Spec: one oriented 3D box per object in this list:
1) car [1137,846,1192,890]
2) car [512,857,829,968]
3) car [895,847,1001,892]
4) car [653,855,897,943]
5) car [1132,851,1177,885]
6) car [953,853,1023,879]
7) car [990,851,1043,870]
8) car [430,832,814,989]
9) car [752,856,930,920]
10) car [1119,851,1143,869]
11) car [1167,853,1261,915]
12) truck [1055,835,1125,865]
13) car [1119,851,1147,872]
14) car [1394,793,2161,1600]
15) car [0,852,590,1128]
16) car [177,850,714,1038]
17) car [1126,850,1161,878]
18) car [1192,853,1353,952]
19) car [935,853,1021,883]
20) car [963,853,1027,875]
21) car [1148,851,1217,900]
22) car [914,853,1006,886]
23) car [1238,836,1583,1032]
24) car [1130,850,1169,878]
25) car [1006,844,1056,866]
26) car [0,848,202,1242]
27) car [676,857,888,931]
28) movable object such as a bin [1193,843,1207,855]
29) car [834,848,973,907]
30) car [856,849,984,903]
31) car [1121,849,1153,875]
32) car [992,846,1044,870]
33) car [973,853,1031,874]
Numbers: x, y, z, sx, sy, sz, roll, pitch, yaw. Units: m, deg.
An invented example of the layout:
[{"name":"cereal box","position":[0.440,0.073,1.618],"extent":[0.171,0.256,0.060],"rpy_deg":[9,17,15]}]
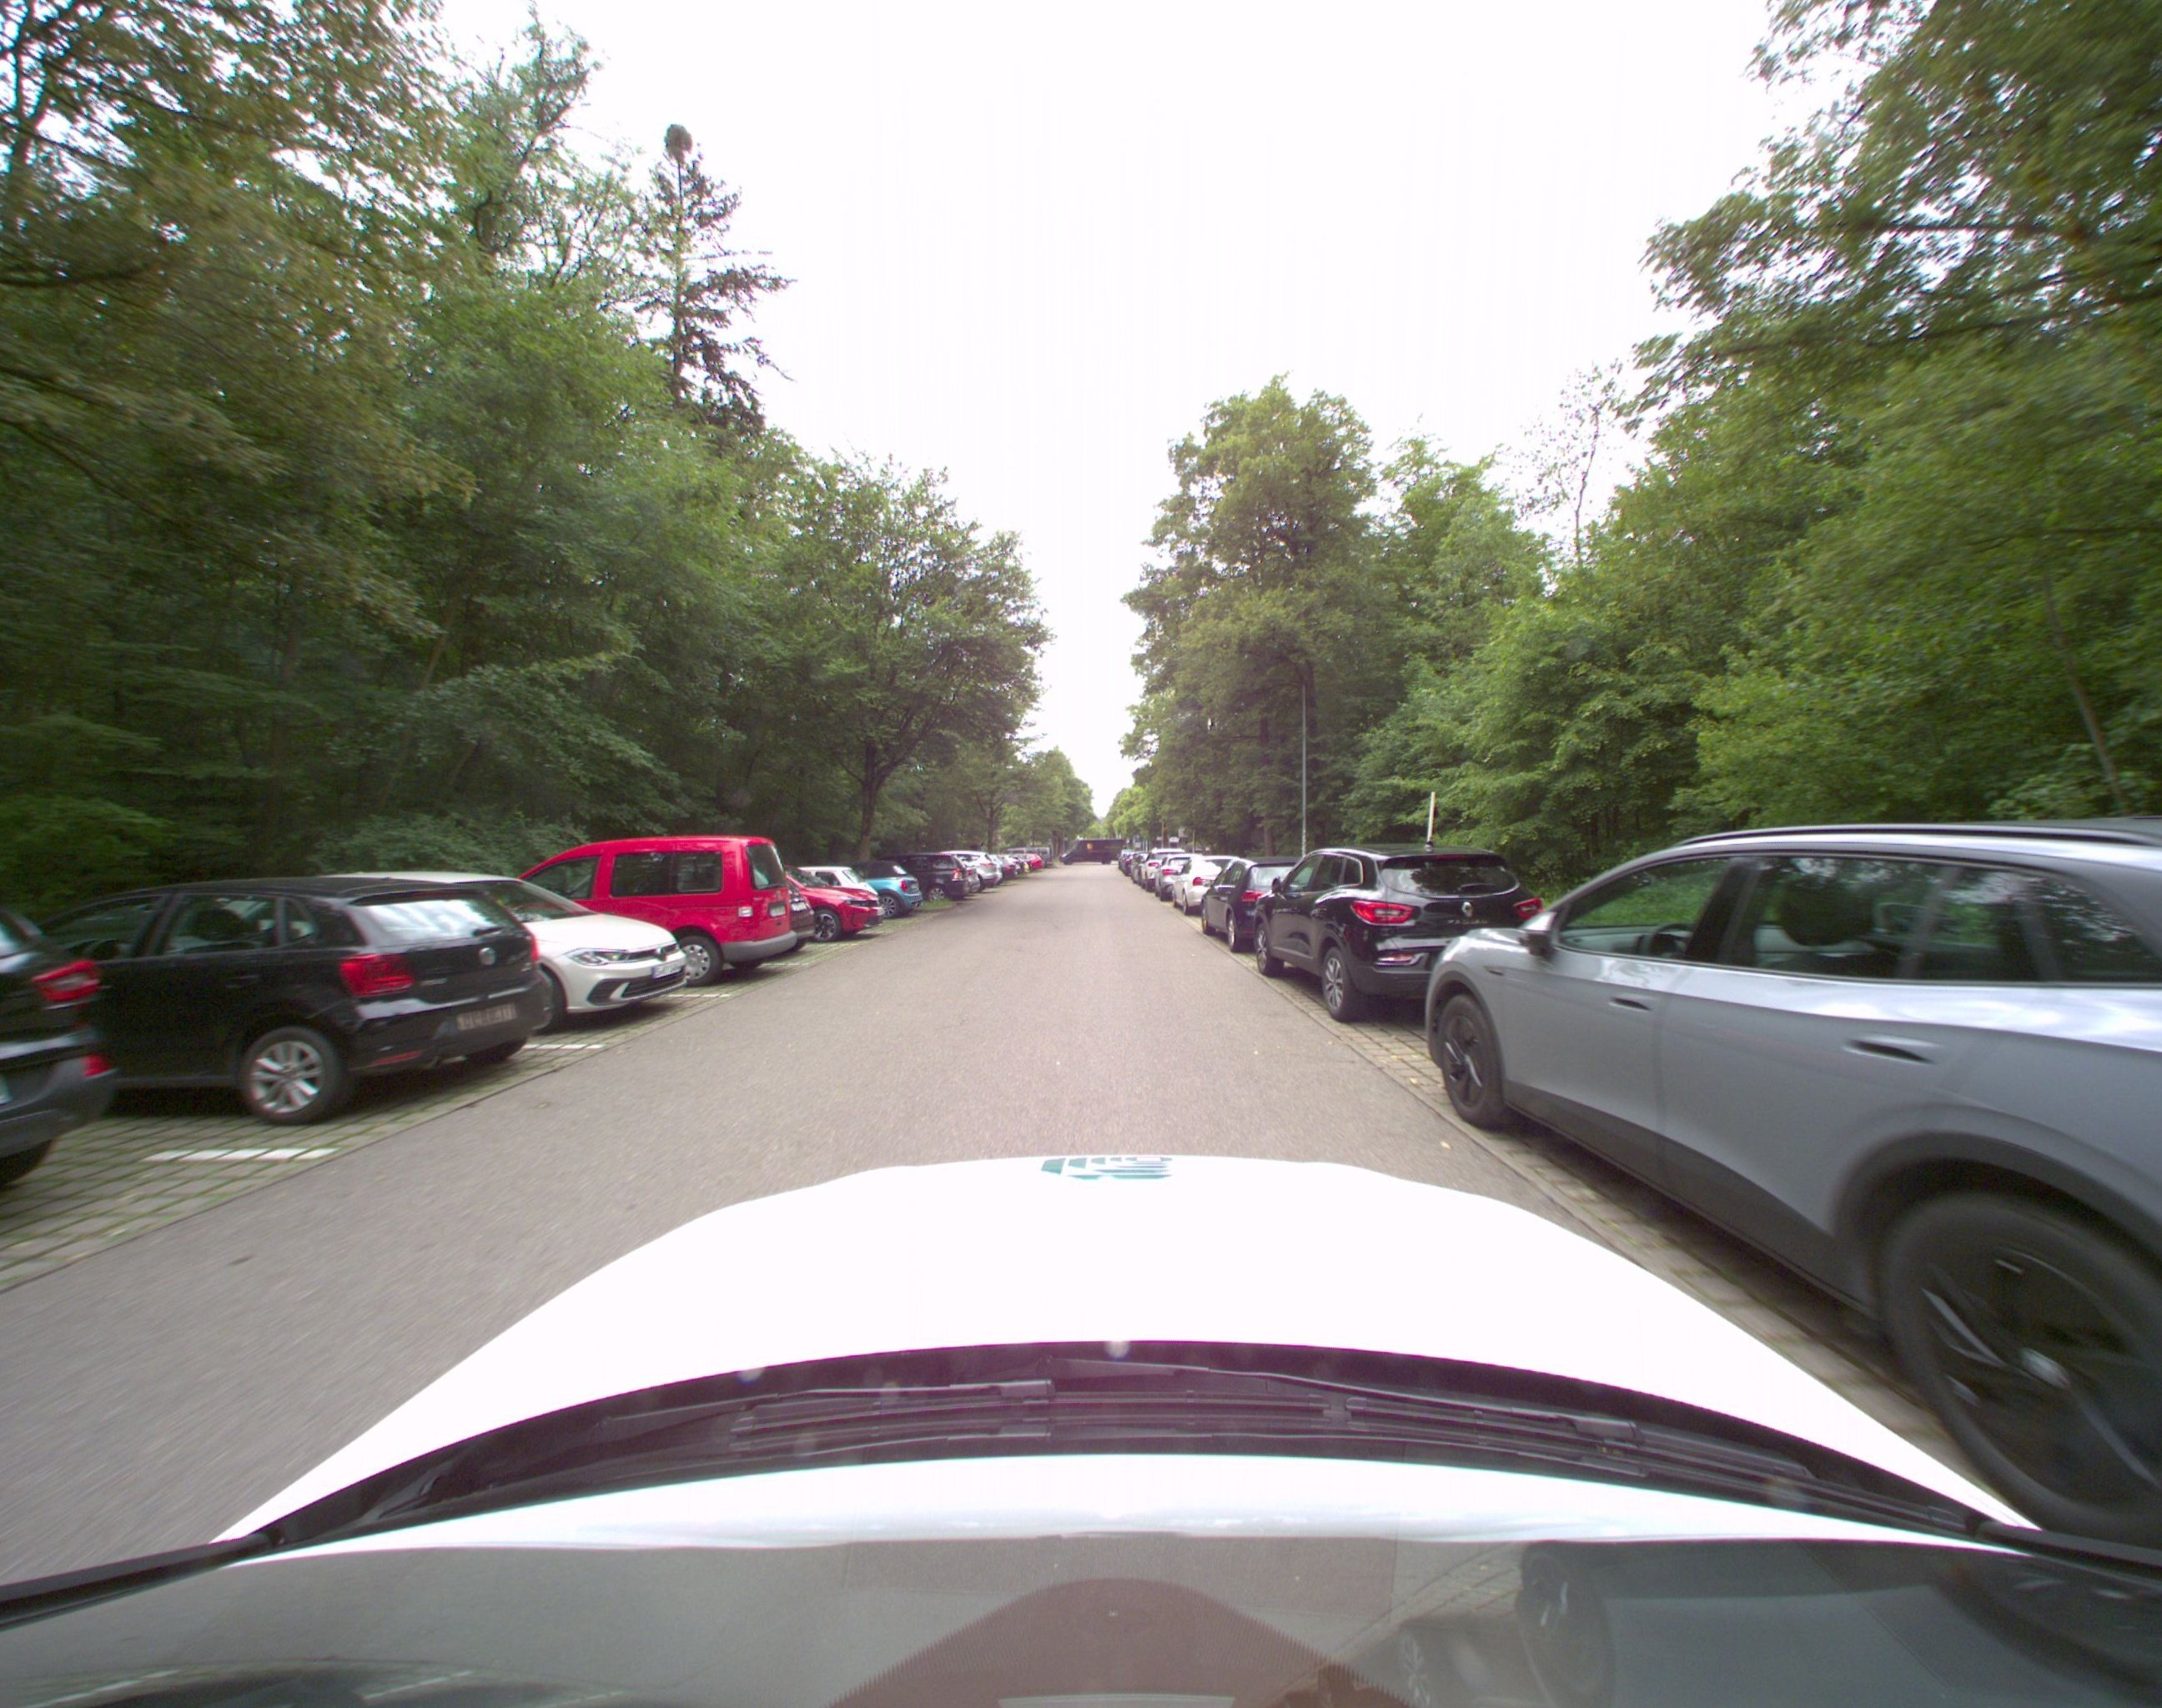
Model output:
[{"name":"car","position":[3.309,0.524,33.086],"extent":[1.730,1.643,5.071],"rpy_deg":[0,0,0]},{"name":"car","position":[-6.246,0.848,12.734],"extent":[3.973,1.516,1.818],"rpy_deg":[-1,0,1]},{"name":"car","position":[-5.330,0.611,32.966],"extent":[3.975,1.662,1.814],"rpy_deg":[-1,0,-1]},{"name":"car","position":[-5.761,0.824,15.693],"extent":[3.973,1.516,1.771],"rpy_deg":[-1,0,1]},{"name":"car","position":[3.403,0.618,38.500],"extent":[1.730,1.474,4.604],"rpy_deg":[0,0,0]},{"name":"car","position":[-5.510,0.705,48.509],"extent":[3.974,1.467,1.715],"rpy_deg":[0,0,0]},{"name":"car","position":[-4.981,0.502,63.163],"extent":[3.976,1.476,1.779],"rpy_deg":[0,0,-2]},{"name":"car","position":[-5.848,0.675,10.750],"extent":[3.974,1.814,1.818],"rpy_deg":[-1,0,0]},{"name":"car","position":[-6.085,0.838,20.926],"extent":[3.970,1.448,1.698],"rpy_deg":[-2,0,3]},{"name":"car","position":[3.942,0.455,64.539],"extent":[1.730,1.432,4.502],"rpy_deg":[0,0,1]},{"name":"car","position":[3.318,0.698,21.157],"extent":[1.730,1.407,4.427],"rpy_deg":[0,0,0]},{"name":"truck","position":[0.925,-0.393,89.904],"extent":[7.247,3.236,3.429],"rpy_deg":[0,-1,-10]},{"name":"car","position":[3.641,0.507,57.733],"extent":[1.730,1.432,4.502],"rpy_deg":[0,0,1]},{"name":"car","position":[3.055,0.661,3.209],"extent":[1.896,1.586,4.480],"rpy_deg":[0,0,-1]},{"name":"car","position":[-5.983,0.830,5.734],"extent":[3.971,1.597,1.743],"rpy_deg":[-1,0,2]},{"name":"car","position":[-6.047,0.799,8.080],"extent":[3.971,1.597,1.743],"rpy_deg":[-1,0,2]},{"name":"car","position":[3.630,0.549,47.726],"extent":[1.731,1.568,4.008],"rpy_deg":[0,0,0]},{"name":"car","position":[3.134,0.711,14.337],"extent":[1.730,1.435,4.745],"rpy_deg":[0,0,0]},{"name":"car","position":[-5.093,0.701,40.481],"extent":[3.971,1.435,1.678],"rpy_deg":[0,0,2]},{"name":"car","position":[-5.595,0.640,53.441],"extent":[3.973,1.438,1.715],"rpy_deg":[0,0,0]},{"name":"car","position":[3.295,0.639,27.240],"extent":[1.730,1.479,4.769],"rpy_deg":[0,0,0]},{"name":"car","position":[-5.623,0.709,38.116],"extent":[3.971,1.435,1.649],"rpy_deg":[-1,0,2]},{"name":"car","position":[3.100,0.632,8.797],"extent":[1.834,1.560,4.421],"rpy_deg":[0,0,-2]},{"name":"car","position":[3.605,0.515,43.239],"extent":[1.731,1.425,4.154],"rpy_deg":[0,0,0]},{"name":"car","position":[-4.627,0.097,75.704],"extent":[4.488,1.978,1.890],"rpy_deg":[0,-1,-1]},{"name":"car","position":[-6.386,0.817,3.171],"extent":[3.974,1.597,1.741],"rpy_deg":[-1,0,0]},{"name":"car","position":[-6.514,0.848,18.029],"extent":[3.973,1.448,1.771],"rpy_deg":[-1,0,1]},{"name":"movable object such as a bin","position":[14.234,-0.637,97.676],"extent":[1.293,1.442,1.066],"rpy_deg":[0,-1,-43]},{"name":"car","position":[-5.515,0.711,25.657],"extent":[3.975,1.662,1.695],"rpy_deg":[-2,0,-1]},{"name":"car","position":[-5.481,0.731,28.125],"extent":[3.972,1.662,1.815],"rpy_deg":[-2,0,1]},{"name":"car","position":[3.551,0.492,52.391],"extent":[1.730,1.589,4.381],"rpy_deg":[0,0,0]},{"name":"car","position":[-5.055,0.291,65.915],"extent":[3.973,1.862,1.813],"rpy_deg":[-1,0,0]},{"name":"car","position":[-5.659,0.653,58.492],"extent":[3.973,1.438,1.618],"rpy_deg":[0,0,0]}]
